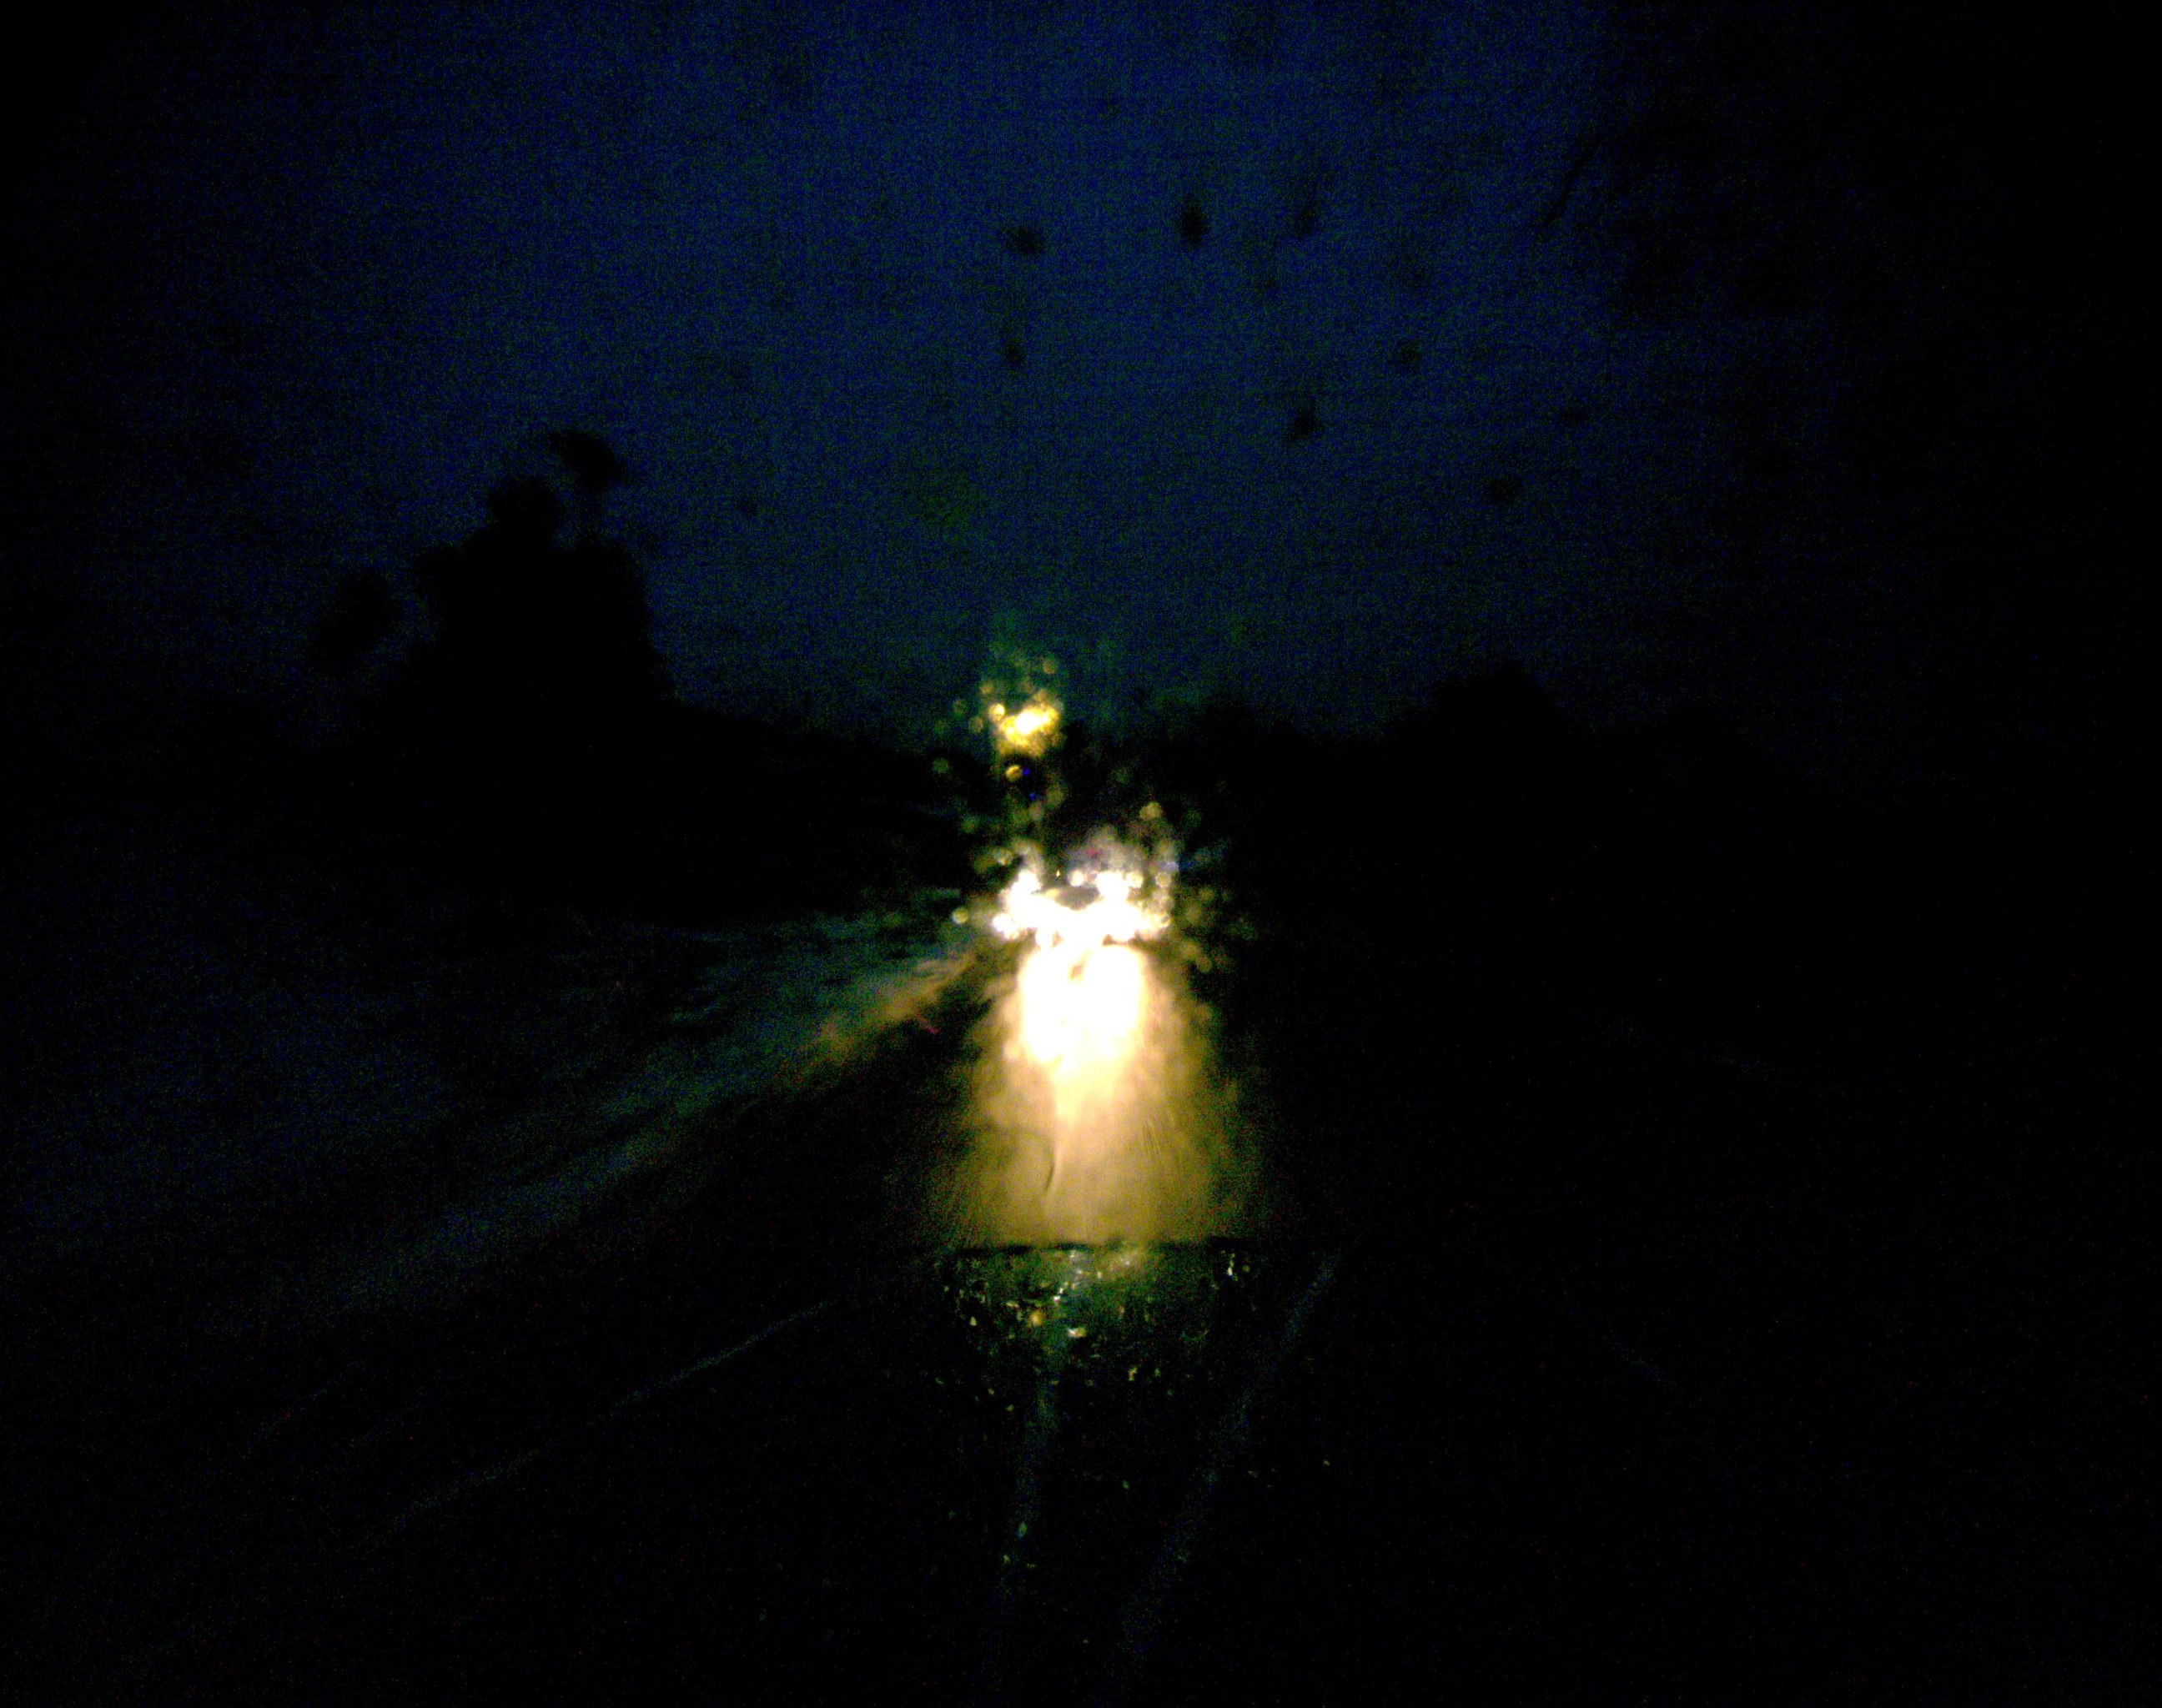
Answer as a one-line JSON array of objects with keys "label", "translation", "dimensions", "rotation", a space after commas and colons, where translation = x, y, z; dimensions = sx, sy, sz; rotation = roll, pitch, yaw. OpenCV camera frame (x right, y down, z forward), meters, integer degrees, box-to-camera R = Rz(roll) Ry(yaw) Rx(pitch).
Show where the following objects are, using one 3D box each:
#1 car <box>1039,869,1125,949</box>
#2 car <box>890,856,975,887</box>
[{"label": "car", "translation": [-0.034, 1.097, 16.490], "dimensions": [1.650, 1.446, 3.679], "rotation": [0, 0, -2]}, {"label": "car", "translation": [-8.620, 1.019, 44.290], "dimensions": [4.403, 1.647, 1.864], "rotation": [2, -1, 9]}]
